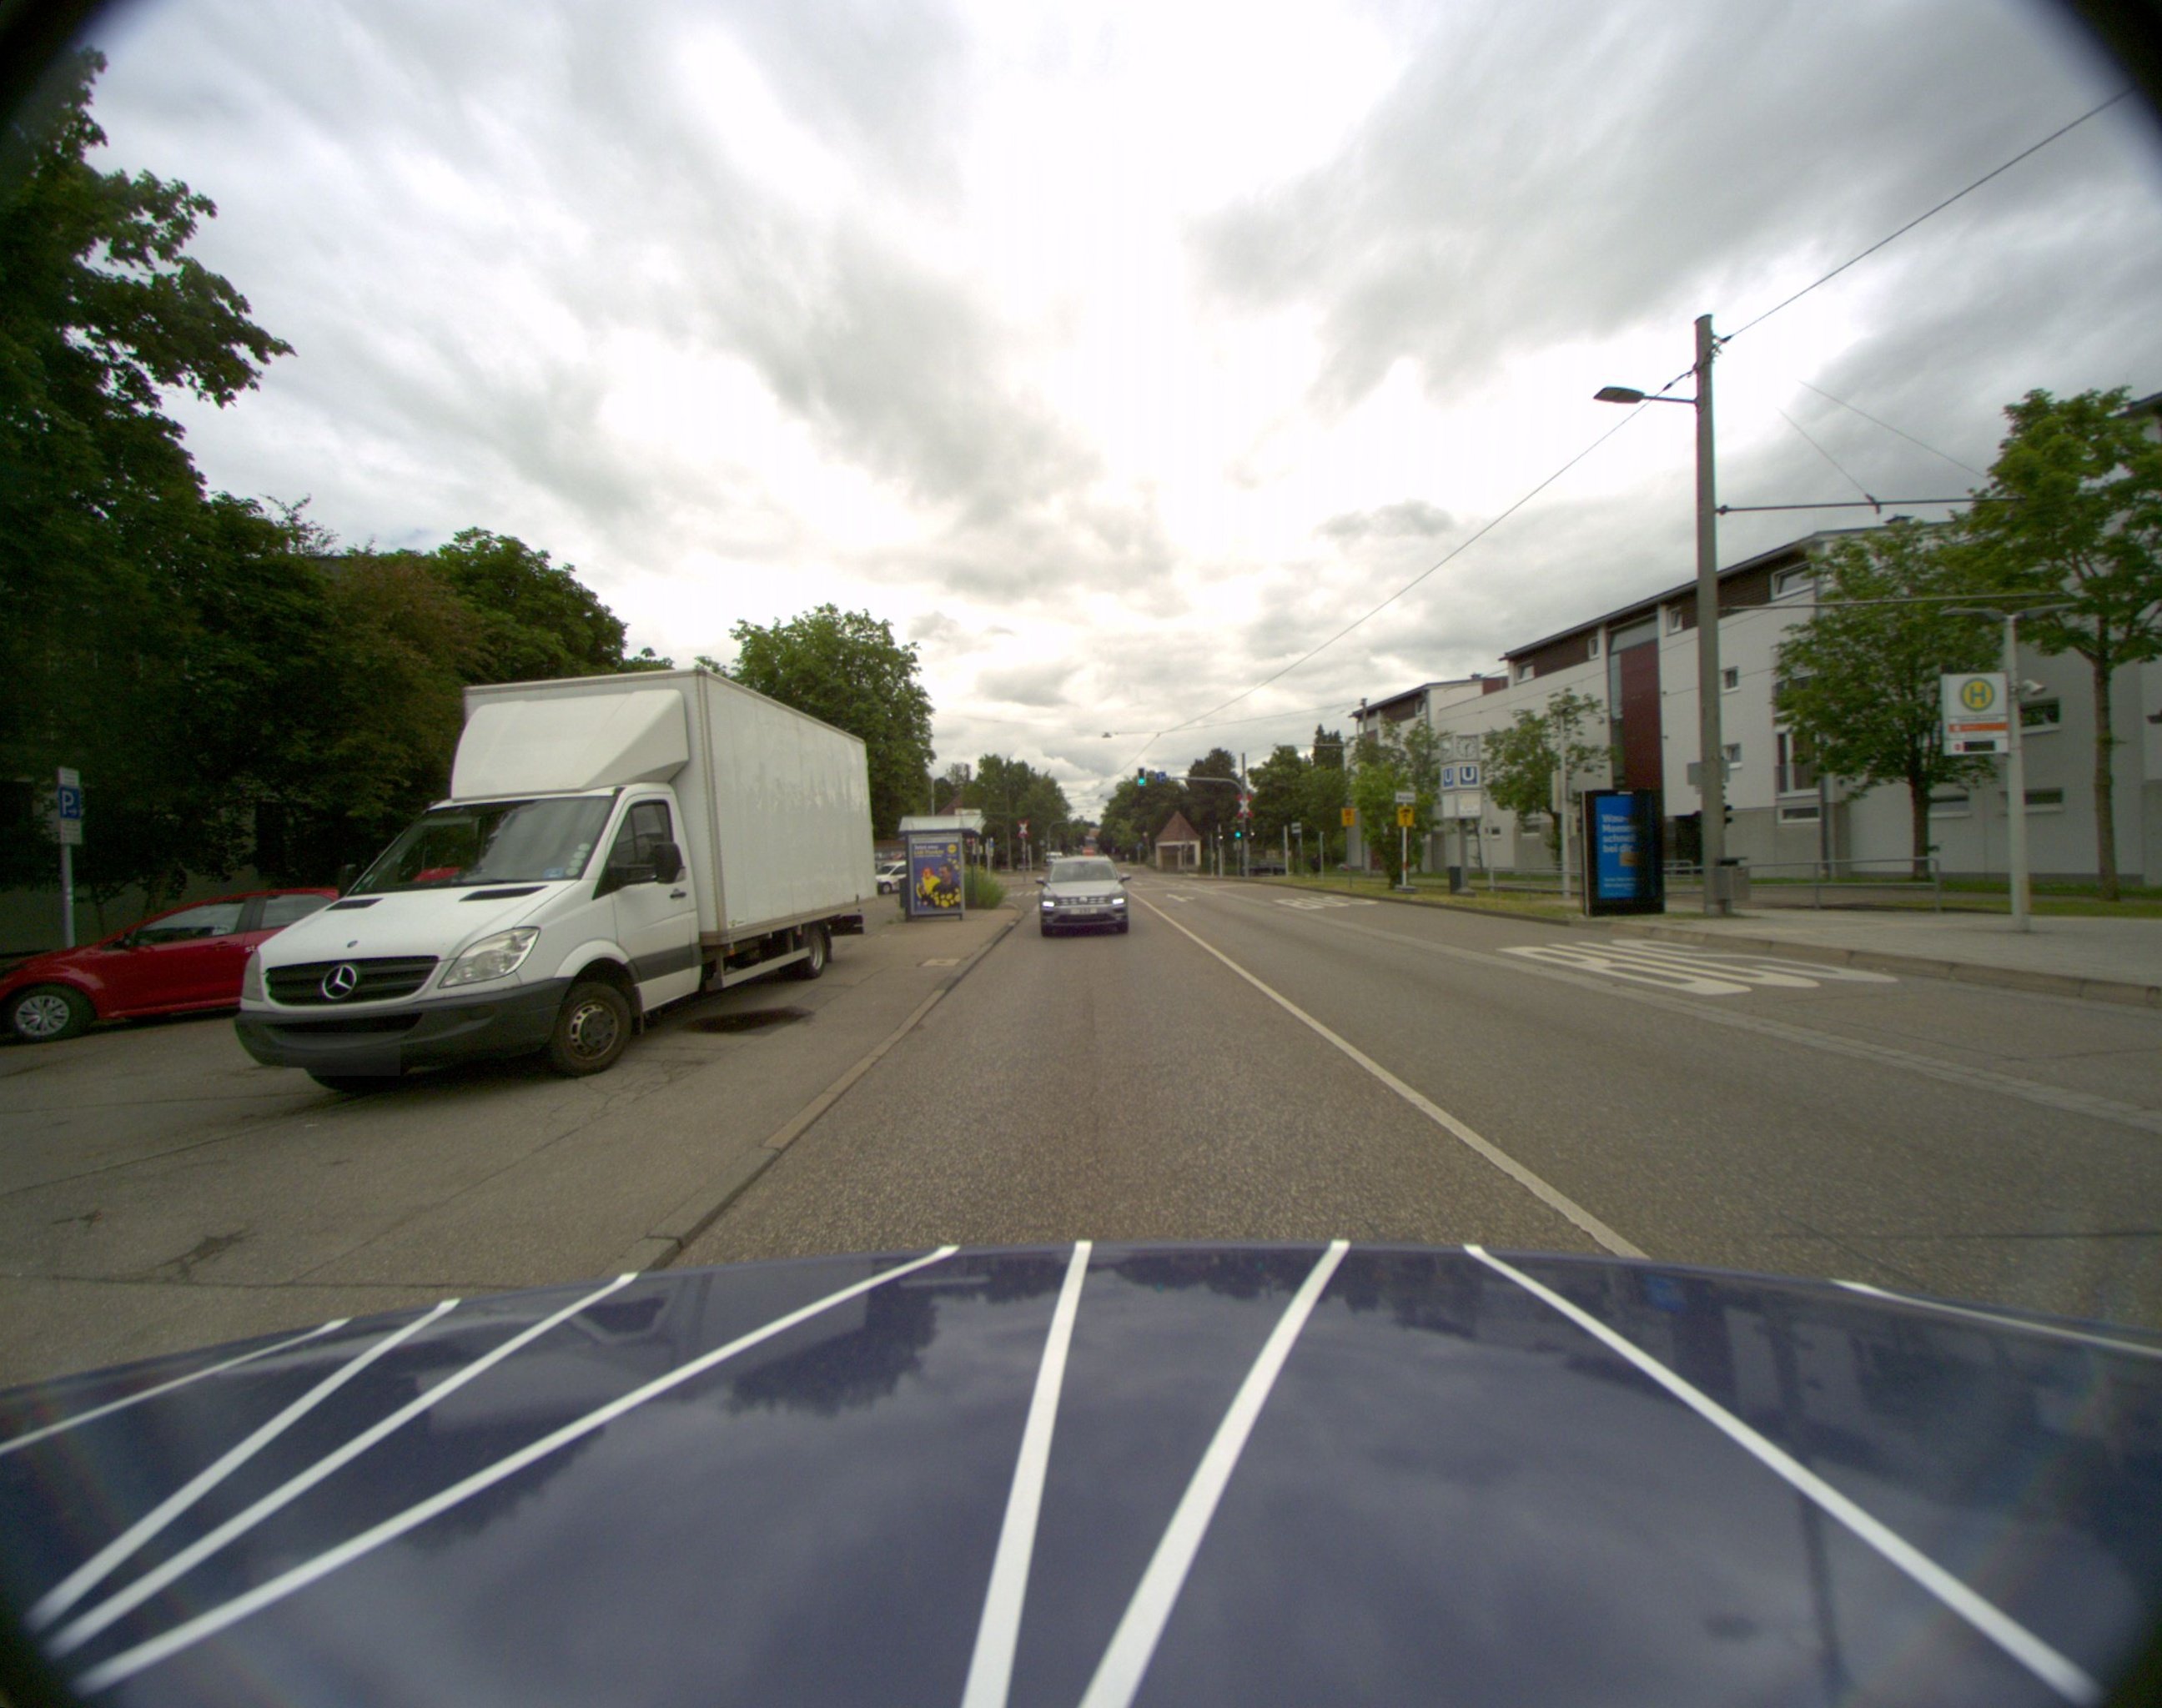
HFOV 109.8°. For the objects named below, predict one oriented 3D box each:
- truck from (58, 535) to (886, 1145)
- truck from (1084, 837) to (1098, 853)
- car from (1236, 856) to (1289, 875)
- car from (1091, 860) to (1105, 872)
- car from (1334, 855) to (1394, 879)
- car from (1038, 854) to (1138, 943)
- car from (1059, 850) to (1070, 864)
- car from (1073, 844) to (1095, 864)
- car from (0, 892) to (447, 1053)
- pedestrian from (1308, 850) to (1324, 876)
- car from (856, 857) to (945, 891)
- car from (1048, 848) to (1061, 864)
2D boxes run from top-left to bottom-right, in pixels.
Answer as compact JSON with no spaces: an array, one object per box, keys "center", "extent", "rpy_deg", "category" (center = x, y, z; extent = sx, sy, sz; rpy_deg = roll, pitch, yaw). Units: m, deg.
[{"center":[-4.591,-0.065,8.377],"extent":[2.579,3.504,7.810],"rpy_deg":[-2,0,1],"category":"truck"},{"center":[2.324,-2.024,181.441],"extent":[2.776,3.697,8.466],"rpy_deg":[0,0,-2],"category":"truck"},{"center":[17.135,1.081,71.867],"extent":[4.488,1.660,1.964],"rpy_deg":[1,0,-8],"category":"car"},{"center":[2.392,1.667,106.750],"extent":[1.744,1.550,4.183],"rpy_deg":[-1,0,-1],"category":"car"},{"center":[25.093,1.155,67.416],"extent":[4.469,2.002,1.999],"rpy_deg":[2,0,-7],"category":"car"},{"center":[0.017,0.873,17.150],"extent":[1.835,1.610,4.486],"rpy_deg":[-4,1,-4],"category":"car"},{"center":[-3.168,0.553,145.834],"extent":[2.046,2.588,5.966],"rpy_deg":[-1,0,-1],"category":"car"},{"center":[0.282,0.002,70.692],"extent":[1.811,1.736,3.999],"rpy_deg":[-2,0,-2],"category":"car"},{"center":[-10.266,1.298,9.125],"extent":[3.734,1.436,1.605],"rpy_deg":[-3,-1,-27],"category":"car"},{"center":[15.132,0.605,48.914],"extent":[0.677,1.634,0.819],"rpy_deg":[-1,-2,-6],"category":"pedestrian"},{"center":[-10.044,1.086,42.705],"extent":[1.846,1.738,4.705],"rpy_deg":[-2,0,37],"category":"car"},{"center":[-4.538,0.356,130.202],"extent":[2.095,2.589,6.679],"rpy_deg":[-1,0,-3],"category":"car"}]
